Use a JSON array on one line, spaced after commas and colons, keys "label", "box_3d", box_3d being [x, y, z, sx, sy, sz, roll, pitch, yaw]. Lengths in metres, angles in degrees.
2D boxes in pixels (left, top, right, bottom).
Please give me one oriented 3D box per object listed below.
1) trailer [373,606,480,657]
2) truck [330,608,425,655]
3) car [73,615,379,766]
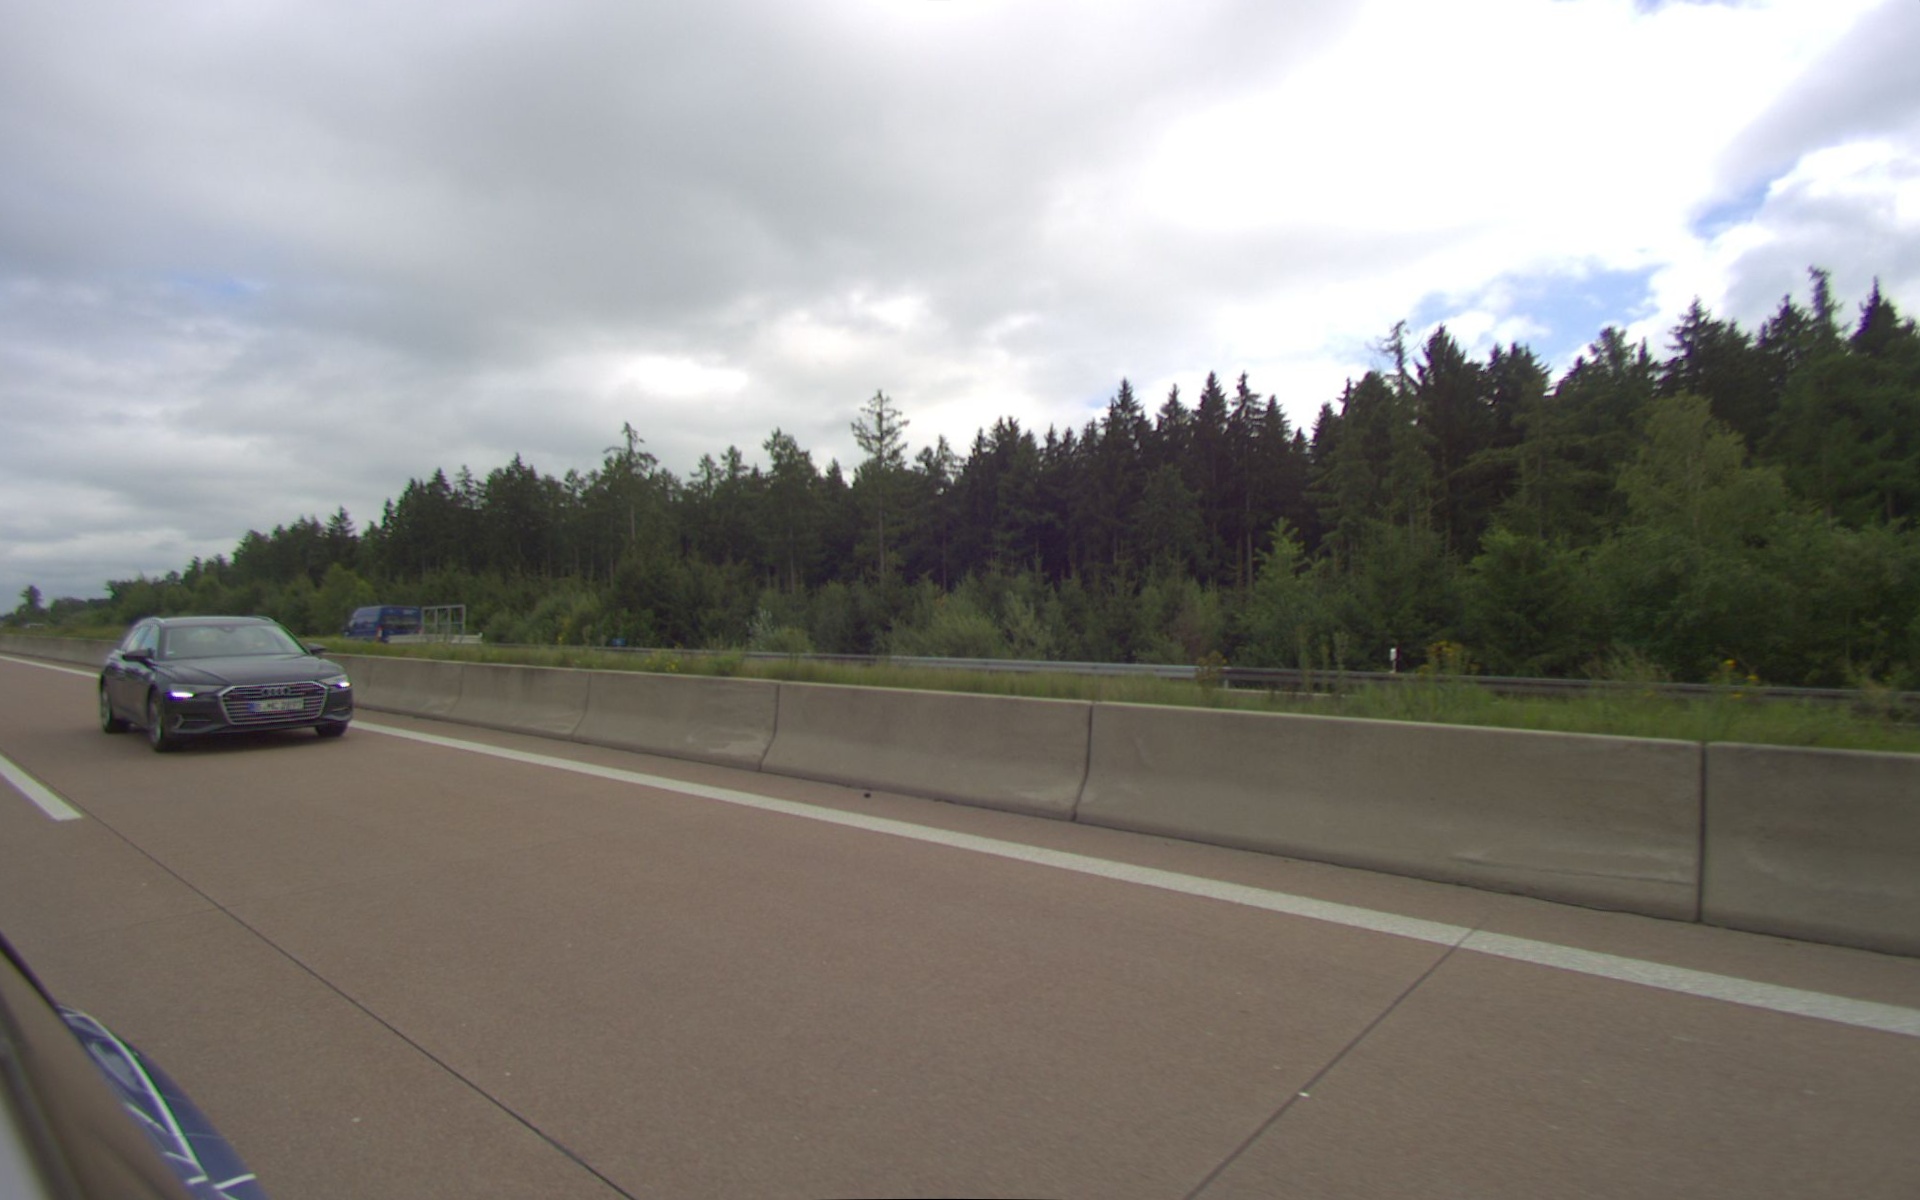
[{"label": "trailer", "box_3d": [-24.625, 1.424, 46.606, 6.186, 2.178, 2.307, -2, -1, 41]}, {"label": "truck", "box_3d": [-29.223, 1.545, 50.694, 6.040, 2.178, 2.322, -2, -1, 41]}, {"label": "car", "box_3d": [-9.504, 0.985, 12.885, 5.450, 1.503, 2.037, -2, -1, 41]}]
